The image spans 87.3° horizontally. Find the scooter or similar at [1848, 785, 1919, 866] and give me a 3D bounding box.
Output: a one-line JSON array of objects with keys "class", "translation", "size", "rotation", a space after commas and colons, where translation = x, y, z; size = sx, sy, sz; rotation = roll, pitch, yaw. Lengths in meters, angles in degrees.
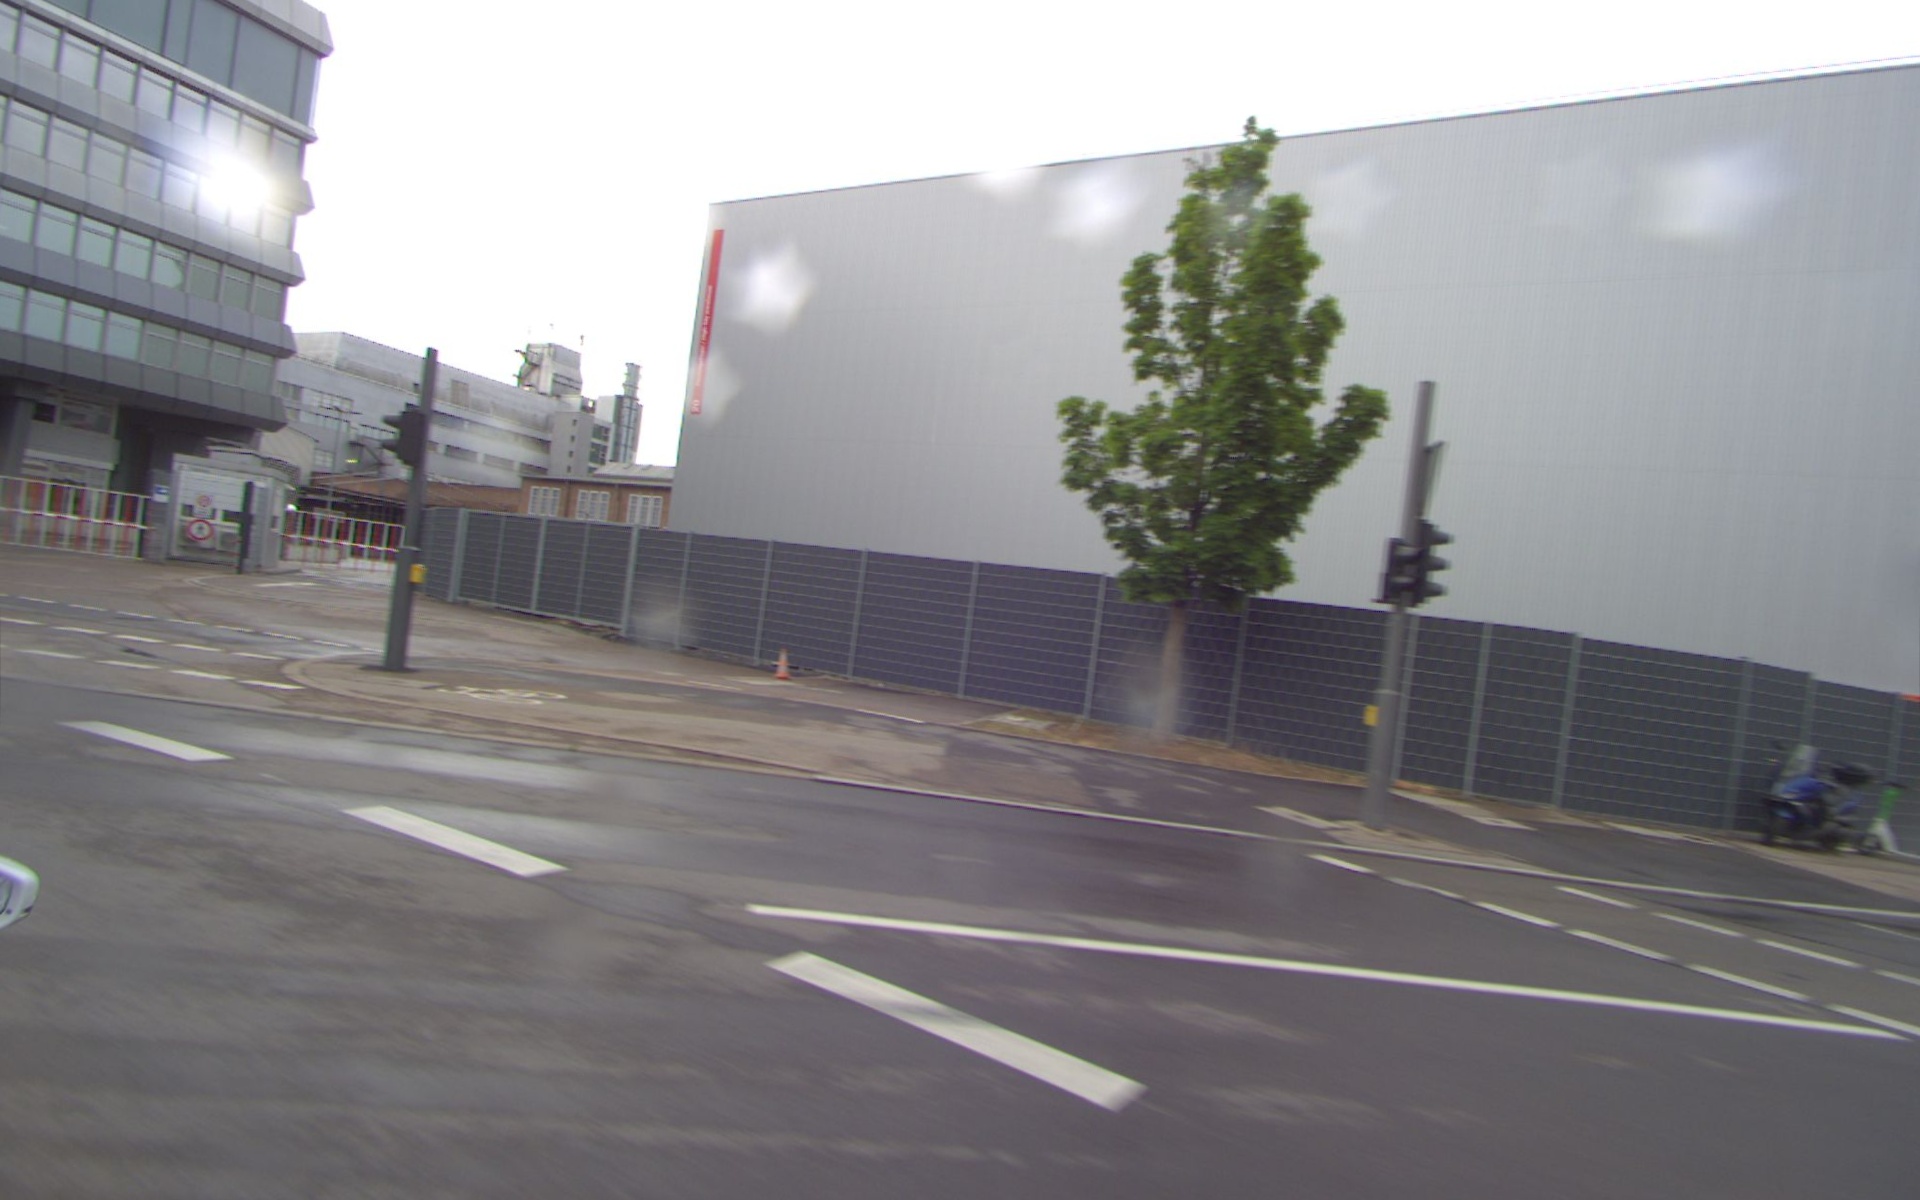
[{"class": "scooter or similar", "translation": [14.209, 3.420, 15.071], "size": [1.246, 1.041, 0.386], "rotation": [8, -1, 10]}]

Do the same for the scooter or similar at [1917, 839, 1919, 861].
[{"class": "scooter or similar", "translation": [15.808, 3.596, 15.742], "size": [1.249, 1.213, 0.424], "rotation": [9, -1, -9]}]

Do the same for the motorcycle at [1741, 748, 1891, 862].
[{"class": "motorcycle", "translation": [12.134, 2.910, 14.245], "size": [2.074, 1.326, 0.652], "rotation": [9, -1, -23]}]
